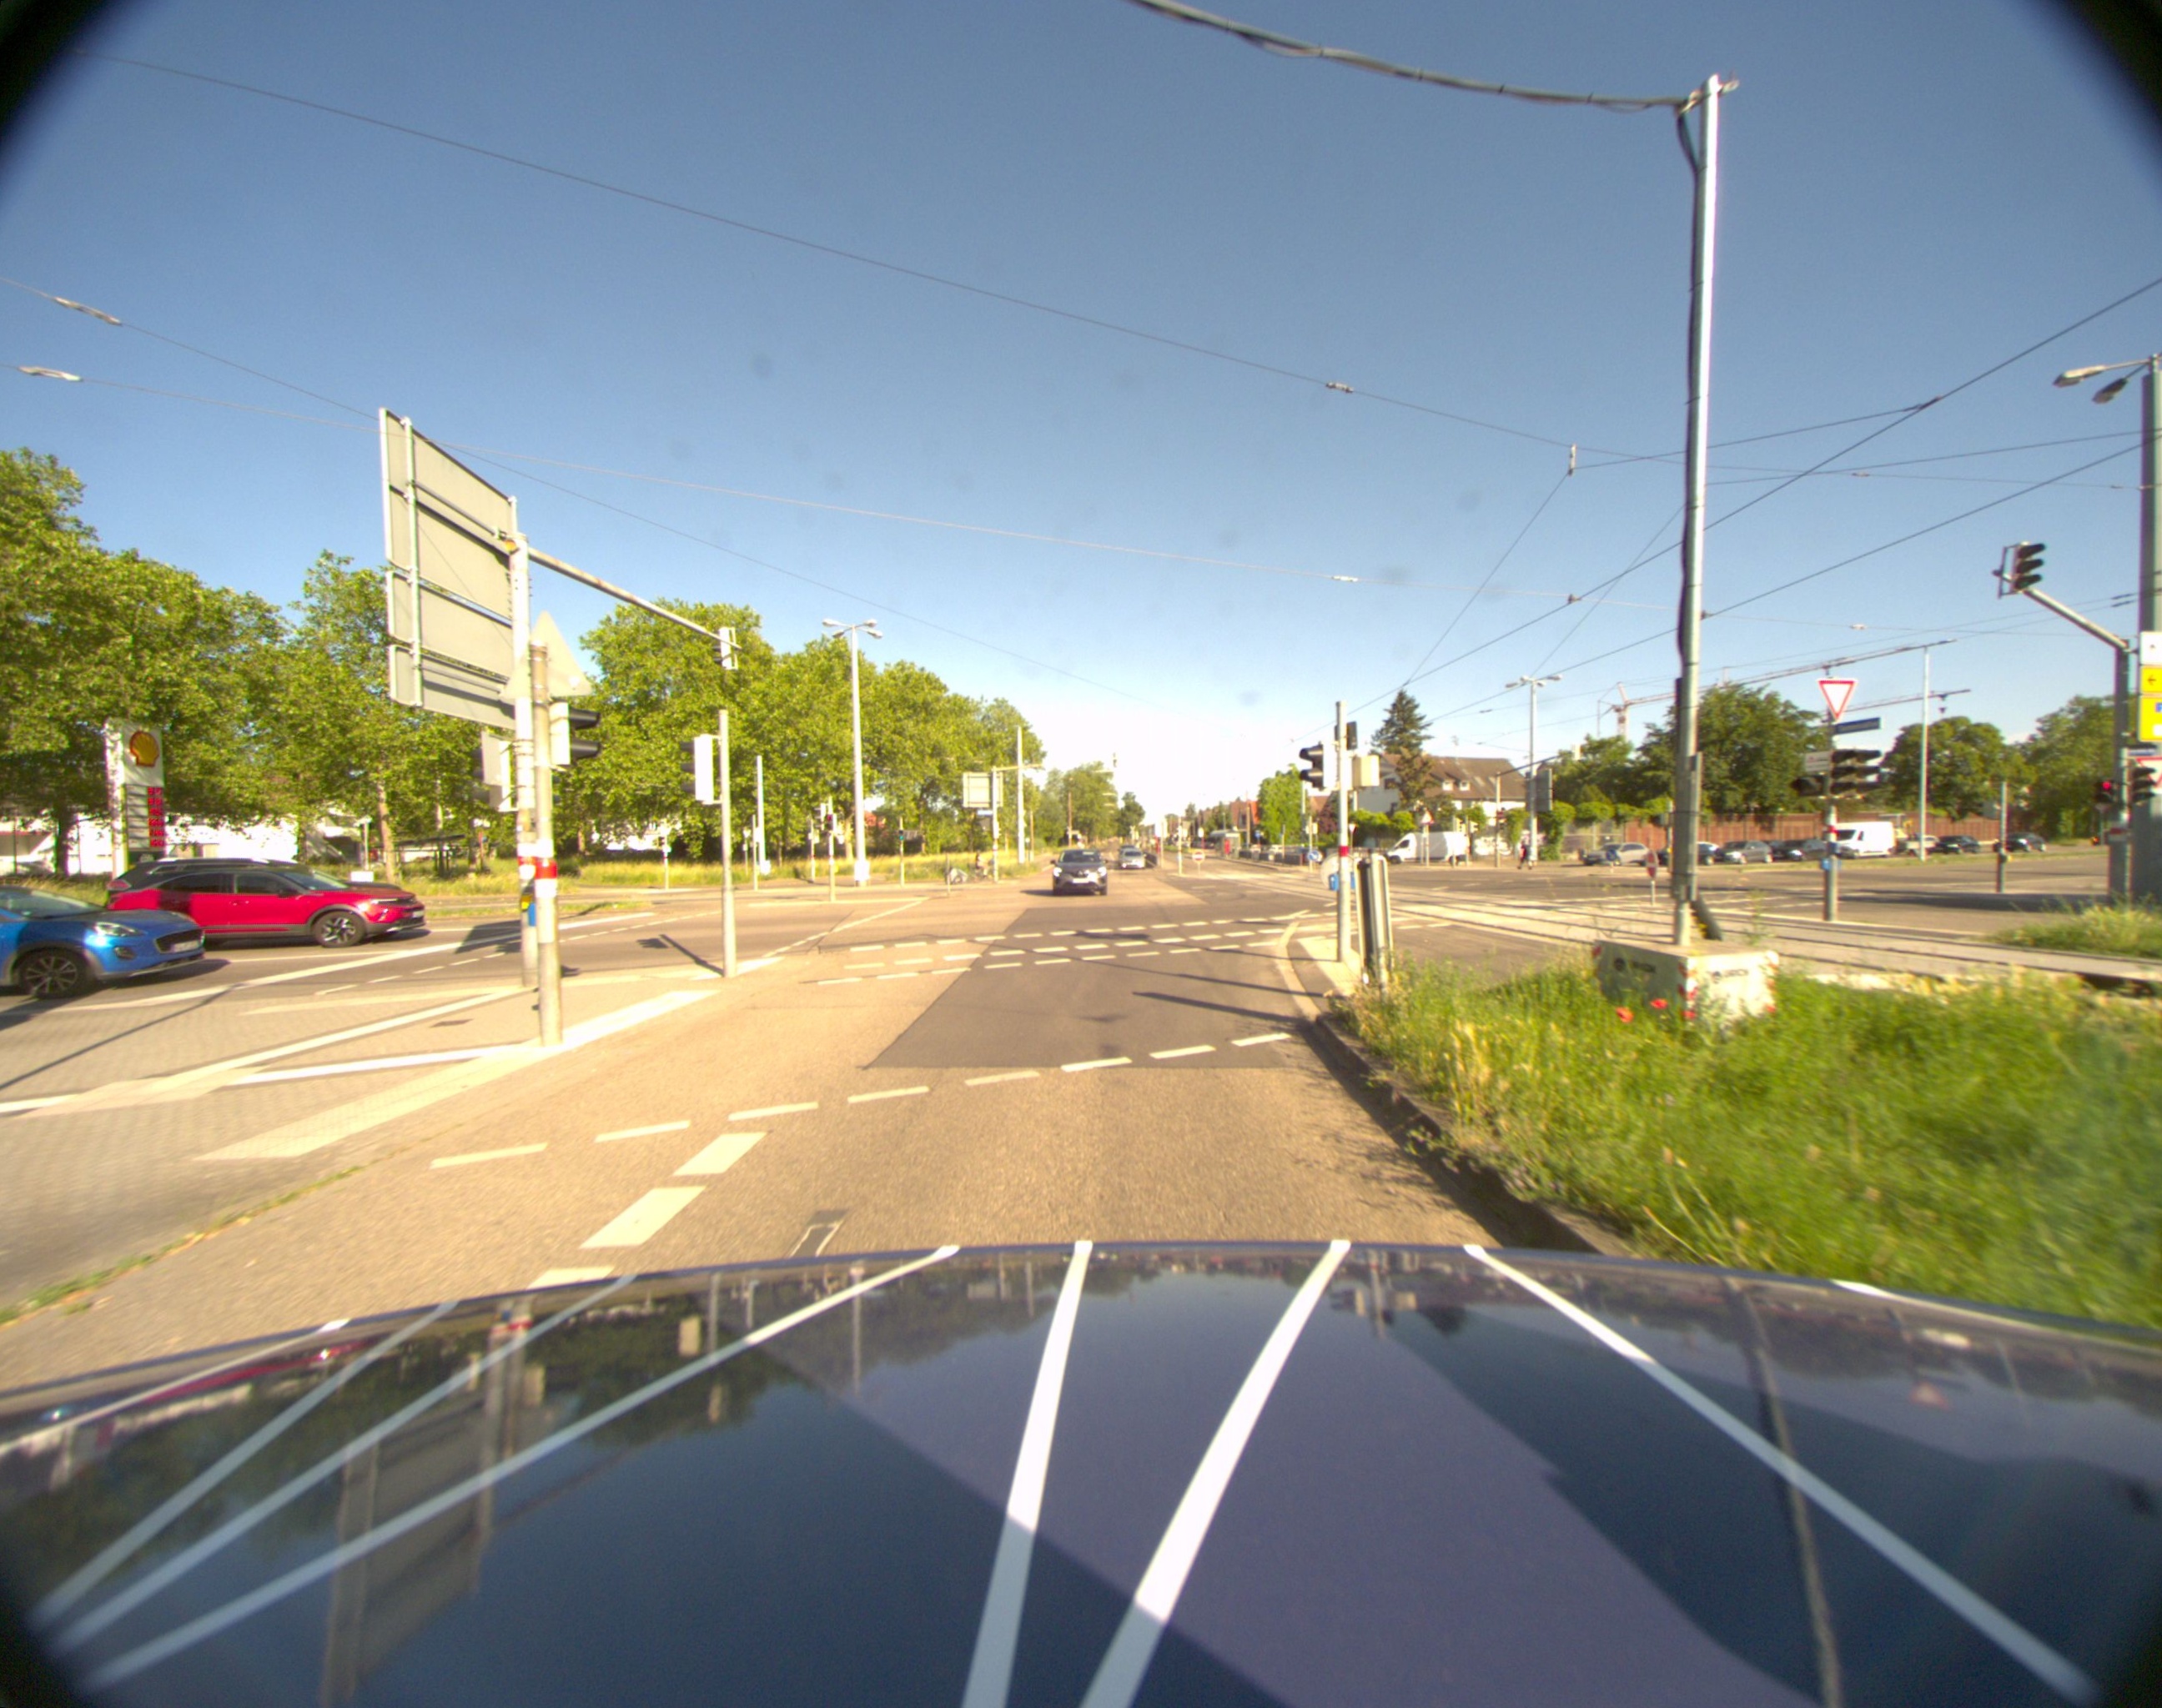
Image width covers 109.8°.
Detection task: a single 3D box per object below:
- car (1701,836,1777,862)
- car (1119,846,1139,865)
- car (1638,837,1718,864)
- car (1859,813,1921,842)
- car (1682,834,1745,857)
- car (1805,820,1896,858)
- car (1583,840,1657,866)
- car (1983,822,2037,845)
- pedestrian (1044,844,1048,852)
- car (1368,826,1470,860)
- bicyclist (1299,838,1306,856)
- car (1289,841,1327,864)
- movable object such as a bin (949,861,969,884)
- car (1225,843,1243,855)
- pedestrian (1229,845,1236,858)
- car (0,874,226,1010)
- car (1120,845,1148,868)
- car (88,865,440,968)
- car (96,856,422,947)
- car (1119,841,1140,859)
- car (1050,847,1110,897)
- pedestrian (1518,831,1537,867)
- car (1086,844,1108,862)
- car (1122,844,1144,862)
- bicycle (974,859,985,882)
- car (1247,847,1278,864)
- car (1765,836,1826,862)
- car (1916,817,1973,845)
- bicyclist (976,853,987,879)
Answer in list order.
[{"bbox_3d":[39.972,-0.309,46.156,4.264,1.458,1.934,-1,0,-25],"label":"car"},{"bbox_3d":[3.962,0.092,63.117,1.585,1.460,3.414,-1,1,2],"label":"car"},{"bbox_3d":[34.738,-0.239,44.201,4.254,1.458,1.934,-1,1,-25],"label":"car"},{"bbox_3d":[56.860,-1.855,53.384,4.005,2.002,1.804,-1,1,-25],"label":"car"},{"bbox_3d":[42.316,-0.590,50.828,4.005,1.469,1.669,-1,1,-25],"label":"car"},{"bbox_3d":[51.422,-1.018,50.759,5.928,2.397,2.176,-1,1,-23],"label":"car"},{"bbox_3d":[33.349,-0.094,47.009,4.642,1.469,1.669,-1,1,-25],"label":"car"},{"bbox_3d":[72.709,-1.607,59.473,4.005,1.732,1.804,-1,1,-26],"label":"car"},{"bbox_3d":[-5.019,-0.849,109.133,0.482,1.027,0.454,-1,2,3],"label":"pedestrian"},{"bbox_3d":[25.370,-0.803,57.273,6.854,2.444,2.352,0,1,22],"label":"car"},{"bbox_3d":[20.901,-0.667,71.737,0.490,1.599,0.648,-1,2,2],"label":"bicyclist"},{"bbox_3d":[17.461,-0.152,58.596,1.795,1.678,4.001,-1,1,2],"label":"car"},{"bbox_3d":[-6.046,0.885,37.598,0.911,1.062,1.315,-1,1,-7],"label":"movable object such as a bin"},{"bbox_3d":[19.405,-0.676,96.370,1.687,1.450,3.703,-1,1,2],"label":"car"},{"bbox_3d":[16.041,-0.294,80.555,0.623,1.406,0.711,-1,1,1],"label":"pedestrian"},{"bbox_3d":[-14.710,1.181,10.201,3.865,1.592,1.709,-2,3,-25],"label":"car"},{"bbox_3d":[3.880,0.152,56.050,1.881,1.519,4.420,-1,1,2],"label":"car"},{"bbox_3d":[-15.096,1.078,14.384,4.094,1.591,1.813,-1,1,-21],"label":"car"},{"bbox_3d":[-17.951,0.954,16.957,4.500,1.701,1.917,-1,2,-25],"label":"car"},{"bbox_3d":[4.798,-0.456,75.881,1.885,1.687,4.300,-1,1,2],"label":"car"},{"bbox_3d":[0.038,0.555,26.061,1.838,1.541,3.816,-1,1,3],"label":"car"},{"bbox_3d":[24.746,-0.276,42.112,0.612,1.937,0.774,-2,2,-41],"label":"pedestrian"},{"bbox_3d":[1.416,-0.107,66.987,1.839,1.541,3.815,-1,1,0],"label":"car"},{"bbox_3d":[4.772,-0.093,69.753,1.754,1.526,4.194,-1,1,0],"label":"car"},{"bbox_3d":[-5.223,0.857,39.158,0.468,1.112,1.819,-1,1,-6],"label":"bicycle"},{"bbox_3d":[17.953,0.102,75.417,1.818,1.587,4.691,-1,1,-2],"label":"car"},{"bbox_3d":[45.213,-0.335,48.049,3.531,1.558,1.494,-1,1,-23],"label":"car"},{"bbox_3d":[64.467,-1.722,56.748,4.005,2.002,1.804,-1,1,-26],"label":"car"},{"bbox_3d":[-5.074,0.609,38.599,0.511,1.333,0.565,-1,2,-6],"label":"bicyclist"}]
